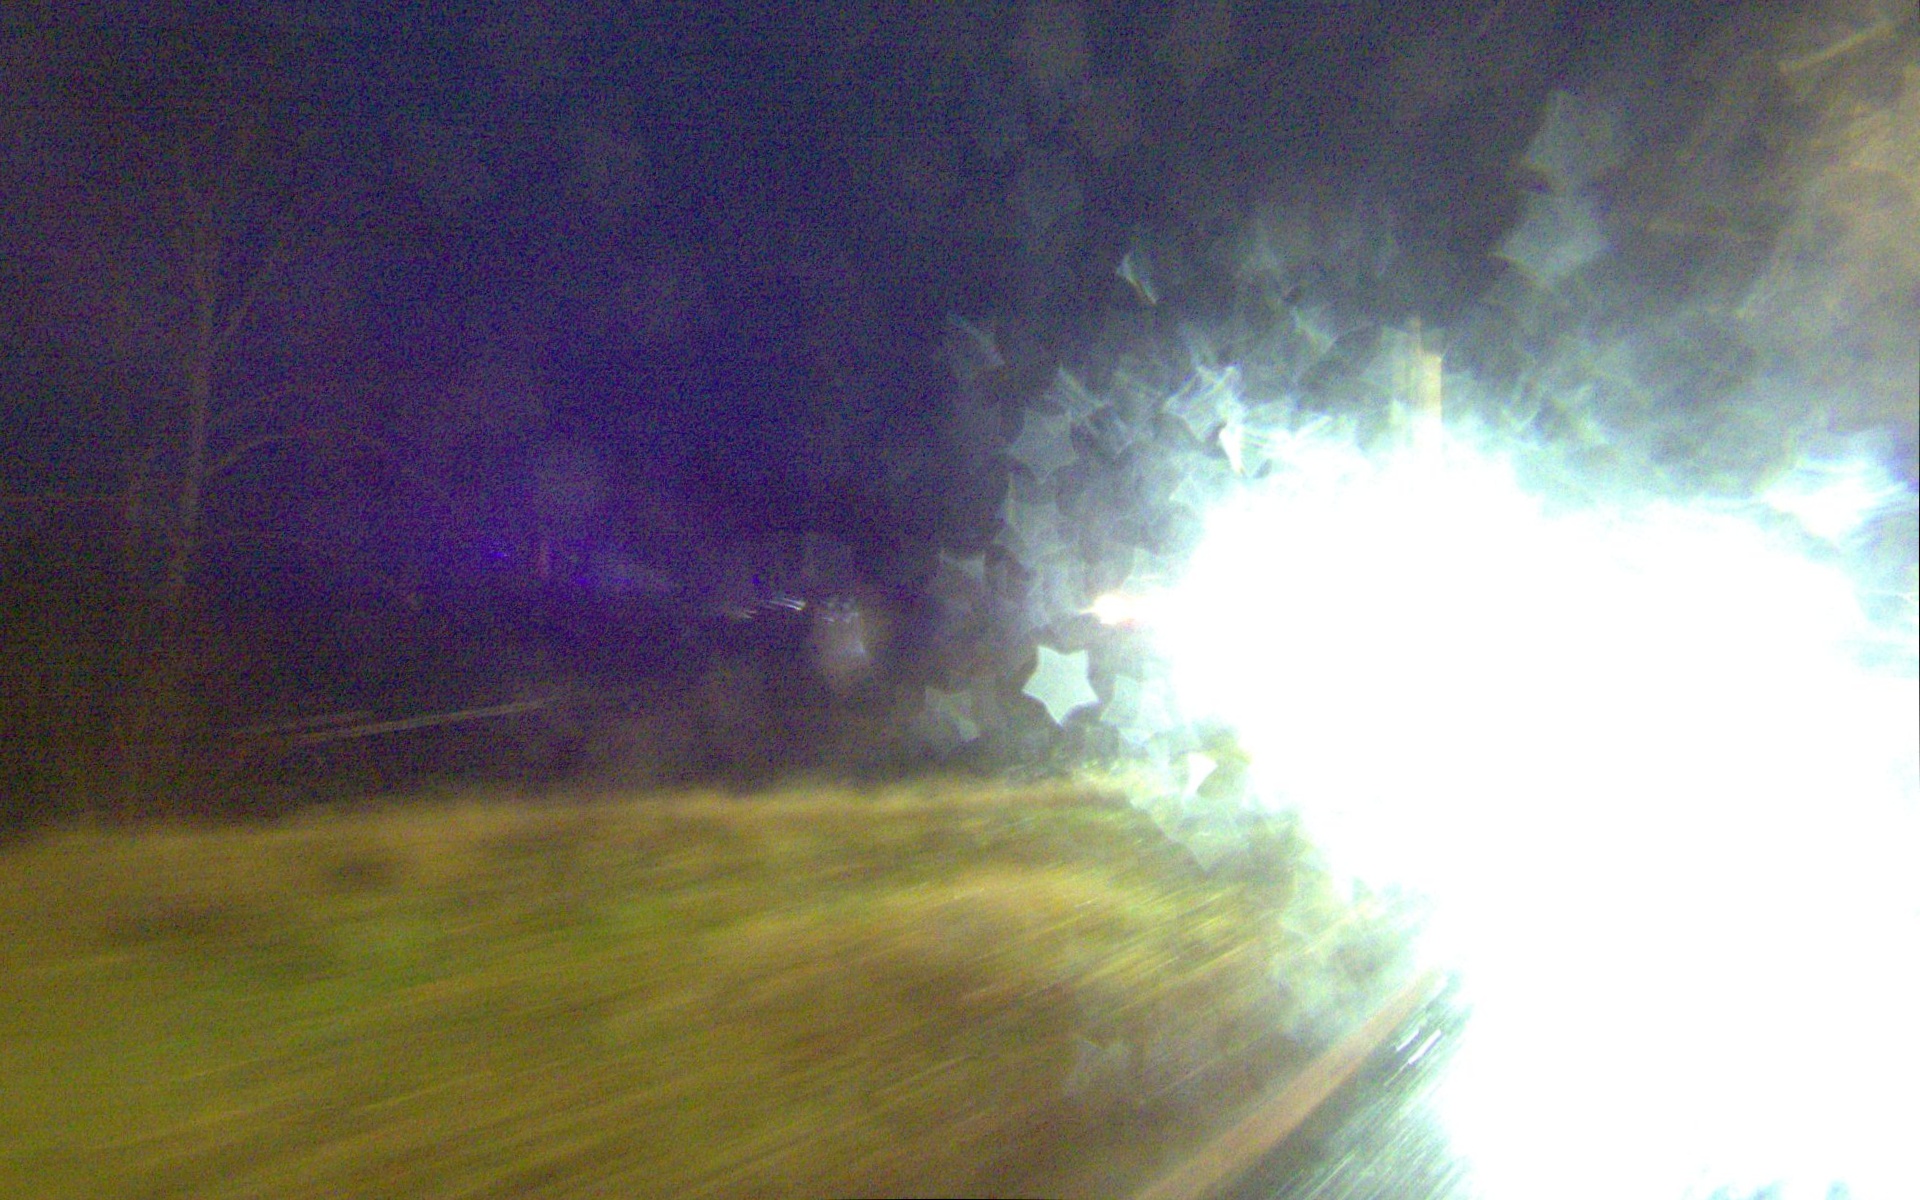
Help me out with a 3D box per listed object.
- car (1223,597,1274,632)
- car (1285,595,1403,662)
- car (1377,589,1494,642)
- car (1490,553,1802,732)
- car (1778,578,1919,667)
[{"bbox_3d":[13.047,0.672,45.911,1.653,1.464,4.163,-2,-1,9],"label":"car"},{"bbox_3d":[10.142,0.735,27.043,1.657,1.552,3.984,-3,-1,2],"label":"car"},{"bbox_3d":[16.526,0.528,35.431,1.812,1.727,4.132,-1,0,-5],"label":"car"},{"bbox_3d":[8.710,0.467,13.393,1.975,1.949,4.350,-2,0,14],"label":"car"},{"bbox_3d":[18.379,0.457,19.292,1.752,1.616,4.242,3,-2,-8],"label":"car"}]
